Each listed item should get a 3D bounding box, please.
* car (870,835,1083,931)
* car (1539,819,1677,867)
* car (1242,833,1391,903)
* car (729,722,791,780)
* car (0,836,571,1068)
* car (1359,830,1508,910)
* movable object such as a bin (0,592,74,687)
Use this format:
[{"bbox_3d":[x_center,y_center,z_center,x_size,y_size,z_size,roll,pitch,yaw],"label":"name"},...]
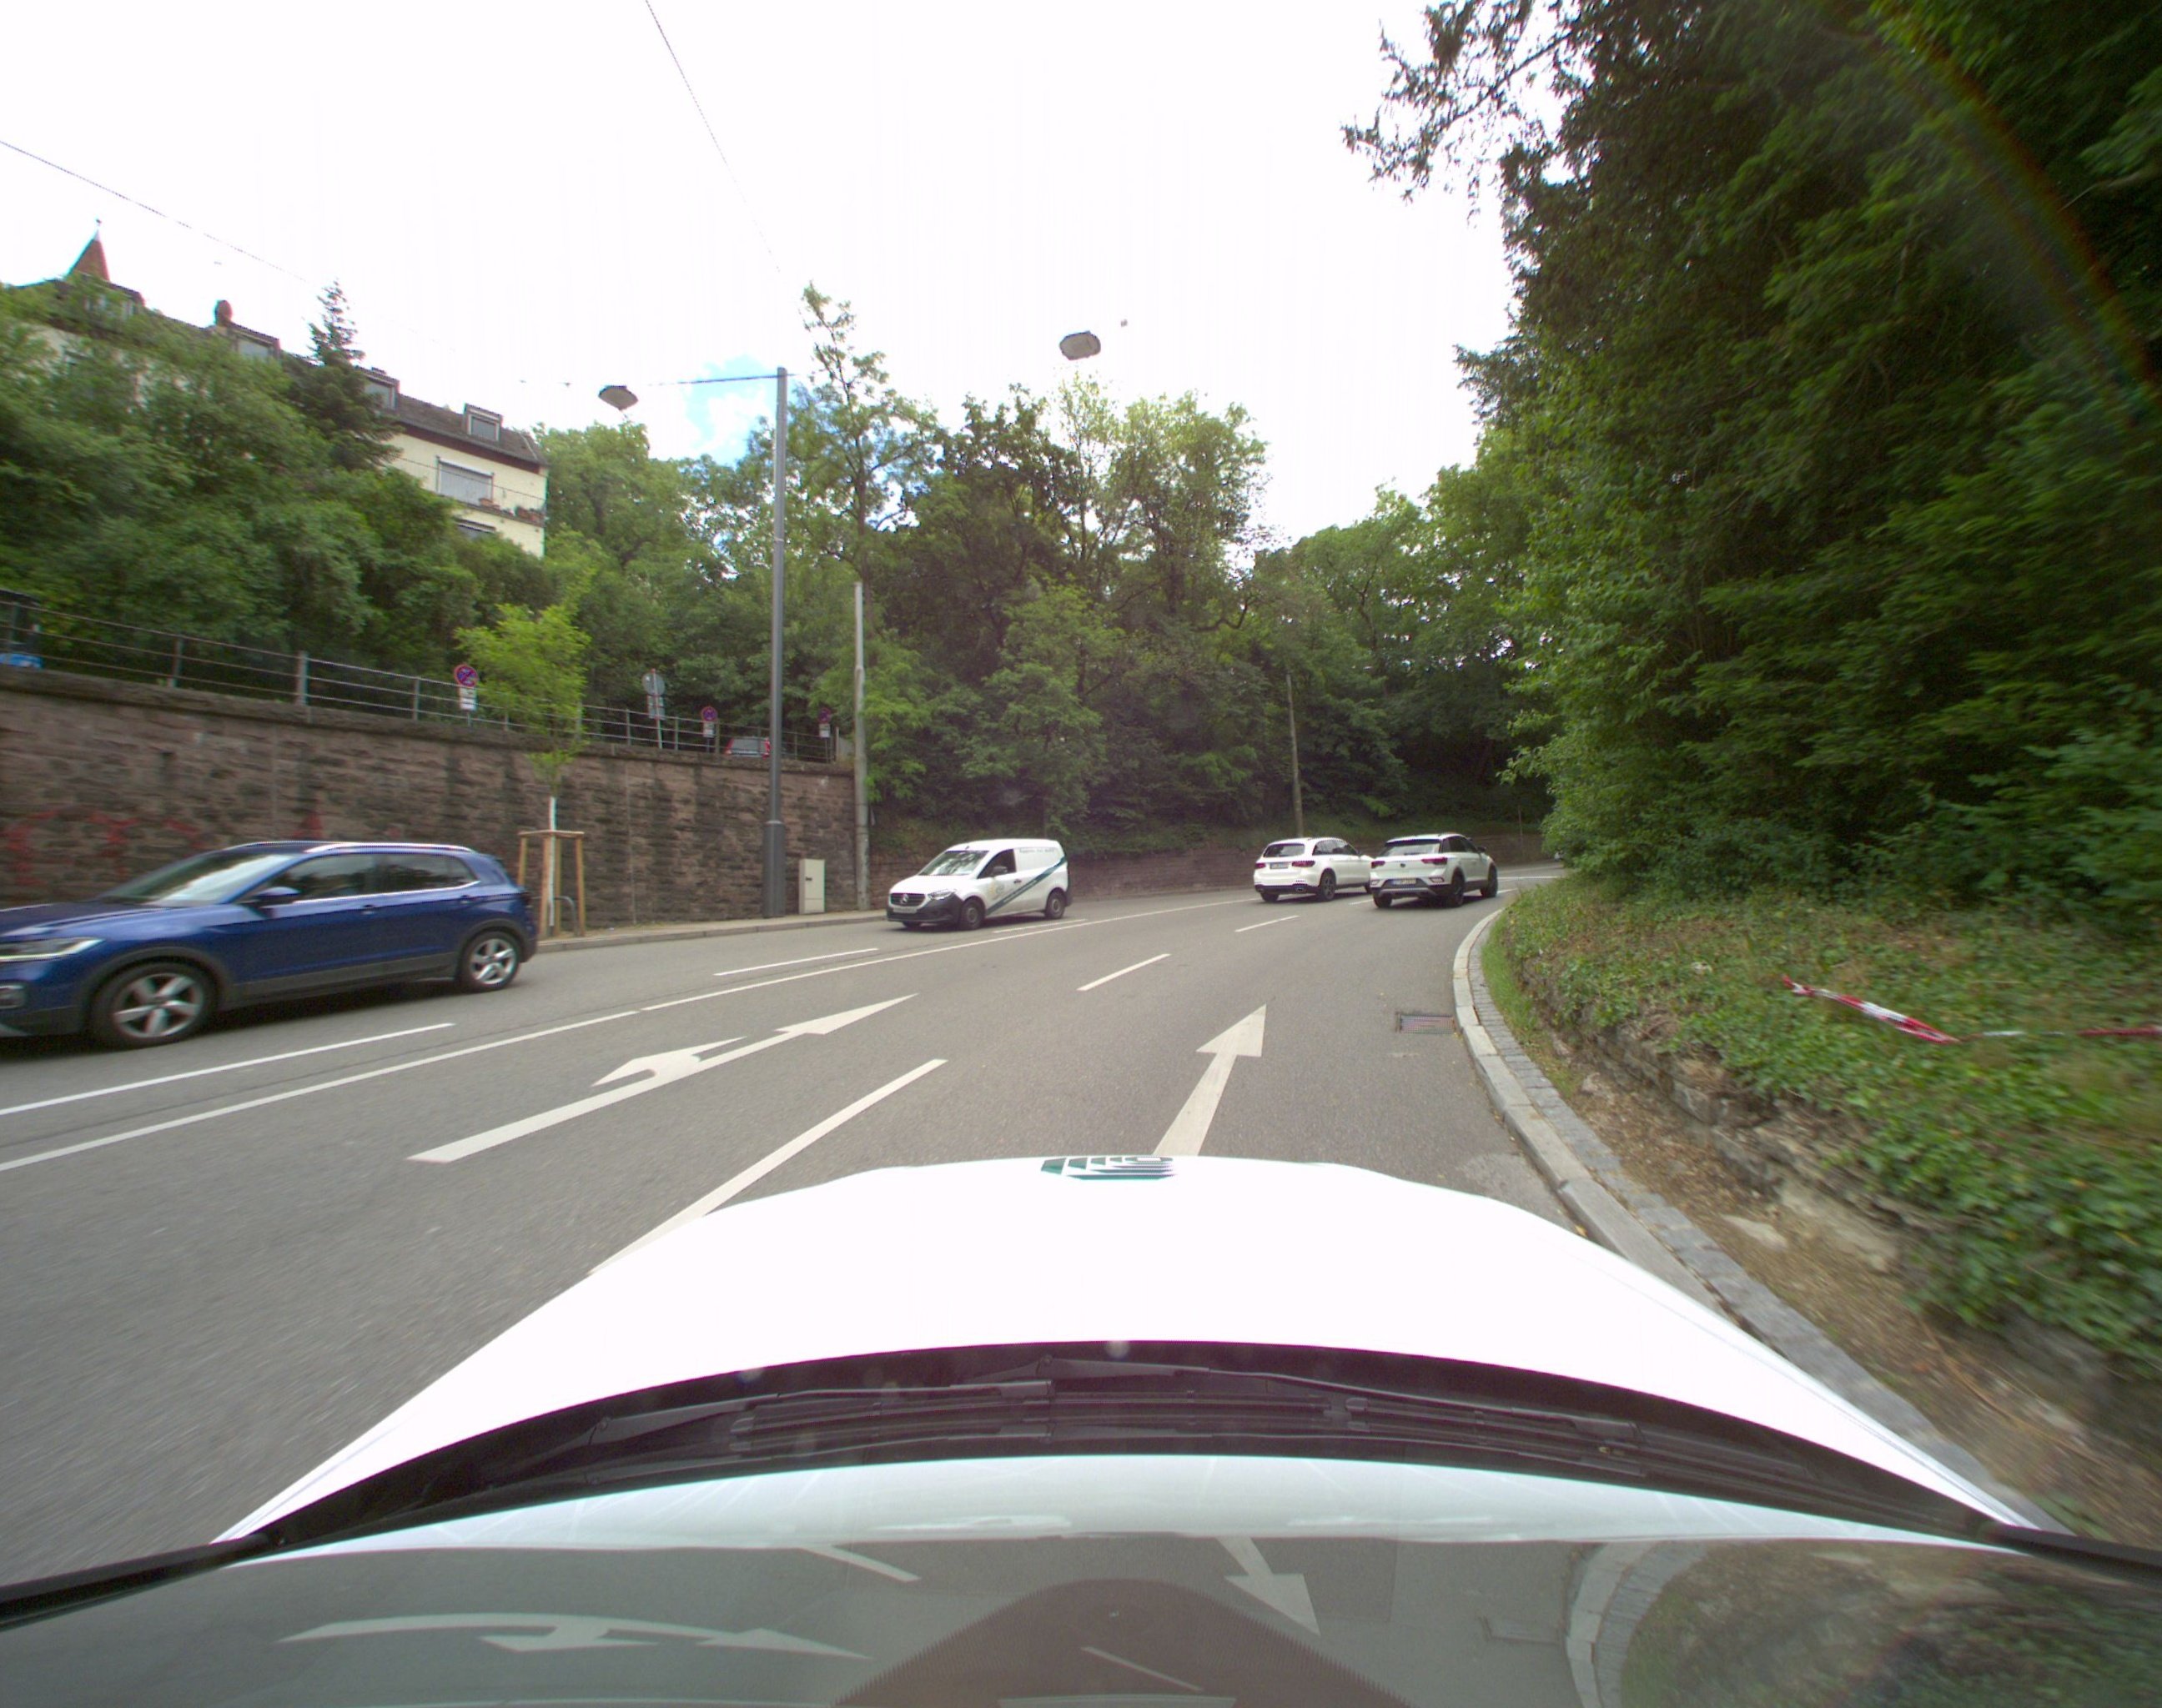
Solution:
[{"bbox_3d":[-2.045,0.526,17.377,1.804,1.764,4.700,0,0,35],"label":"car"},{"bbox_3d":[20.436,-0.418,31.585,4.774,1.534,1.859,-3,0,-18],"label":"car"},{"bbox_3d":[6.467,0.324,22.019,1.841,1.605,4.699,-2,1,44],"label":"car"},{"bbox_3d":[-11.443,-3.646,29.263,1.681,1.380,3.714,1,-3,-16],"label":"car"},{"bbox_3d":[-7.315,0.663,7.615,1.713,1.528,4.218,1,-1,16],"label":"car"},{"bbox_3d":[8.081,0.287,18.434,1.738,1.552,4.364,-2,0,42],"label":"car"},{"bbox_3d":[-19.346,-3.861,14.406,1.238,1.356,1.613,-3,-1,22],"label":"movable object such as a bin"}]
